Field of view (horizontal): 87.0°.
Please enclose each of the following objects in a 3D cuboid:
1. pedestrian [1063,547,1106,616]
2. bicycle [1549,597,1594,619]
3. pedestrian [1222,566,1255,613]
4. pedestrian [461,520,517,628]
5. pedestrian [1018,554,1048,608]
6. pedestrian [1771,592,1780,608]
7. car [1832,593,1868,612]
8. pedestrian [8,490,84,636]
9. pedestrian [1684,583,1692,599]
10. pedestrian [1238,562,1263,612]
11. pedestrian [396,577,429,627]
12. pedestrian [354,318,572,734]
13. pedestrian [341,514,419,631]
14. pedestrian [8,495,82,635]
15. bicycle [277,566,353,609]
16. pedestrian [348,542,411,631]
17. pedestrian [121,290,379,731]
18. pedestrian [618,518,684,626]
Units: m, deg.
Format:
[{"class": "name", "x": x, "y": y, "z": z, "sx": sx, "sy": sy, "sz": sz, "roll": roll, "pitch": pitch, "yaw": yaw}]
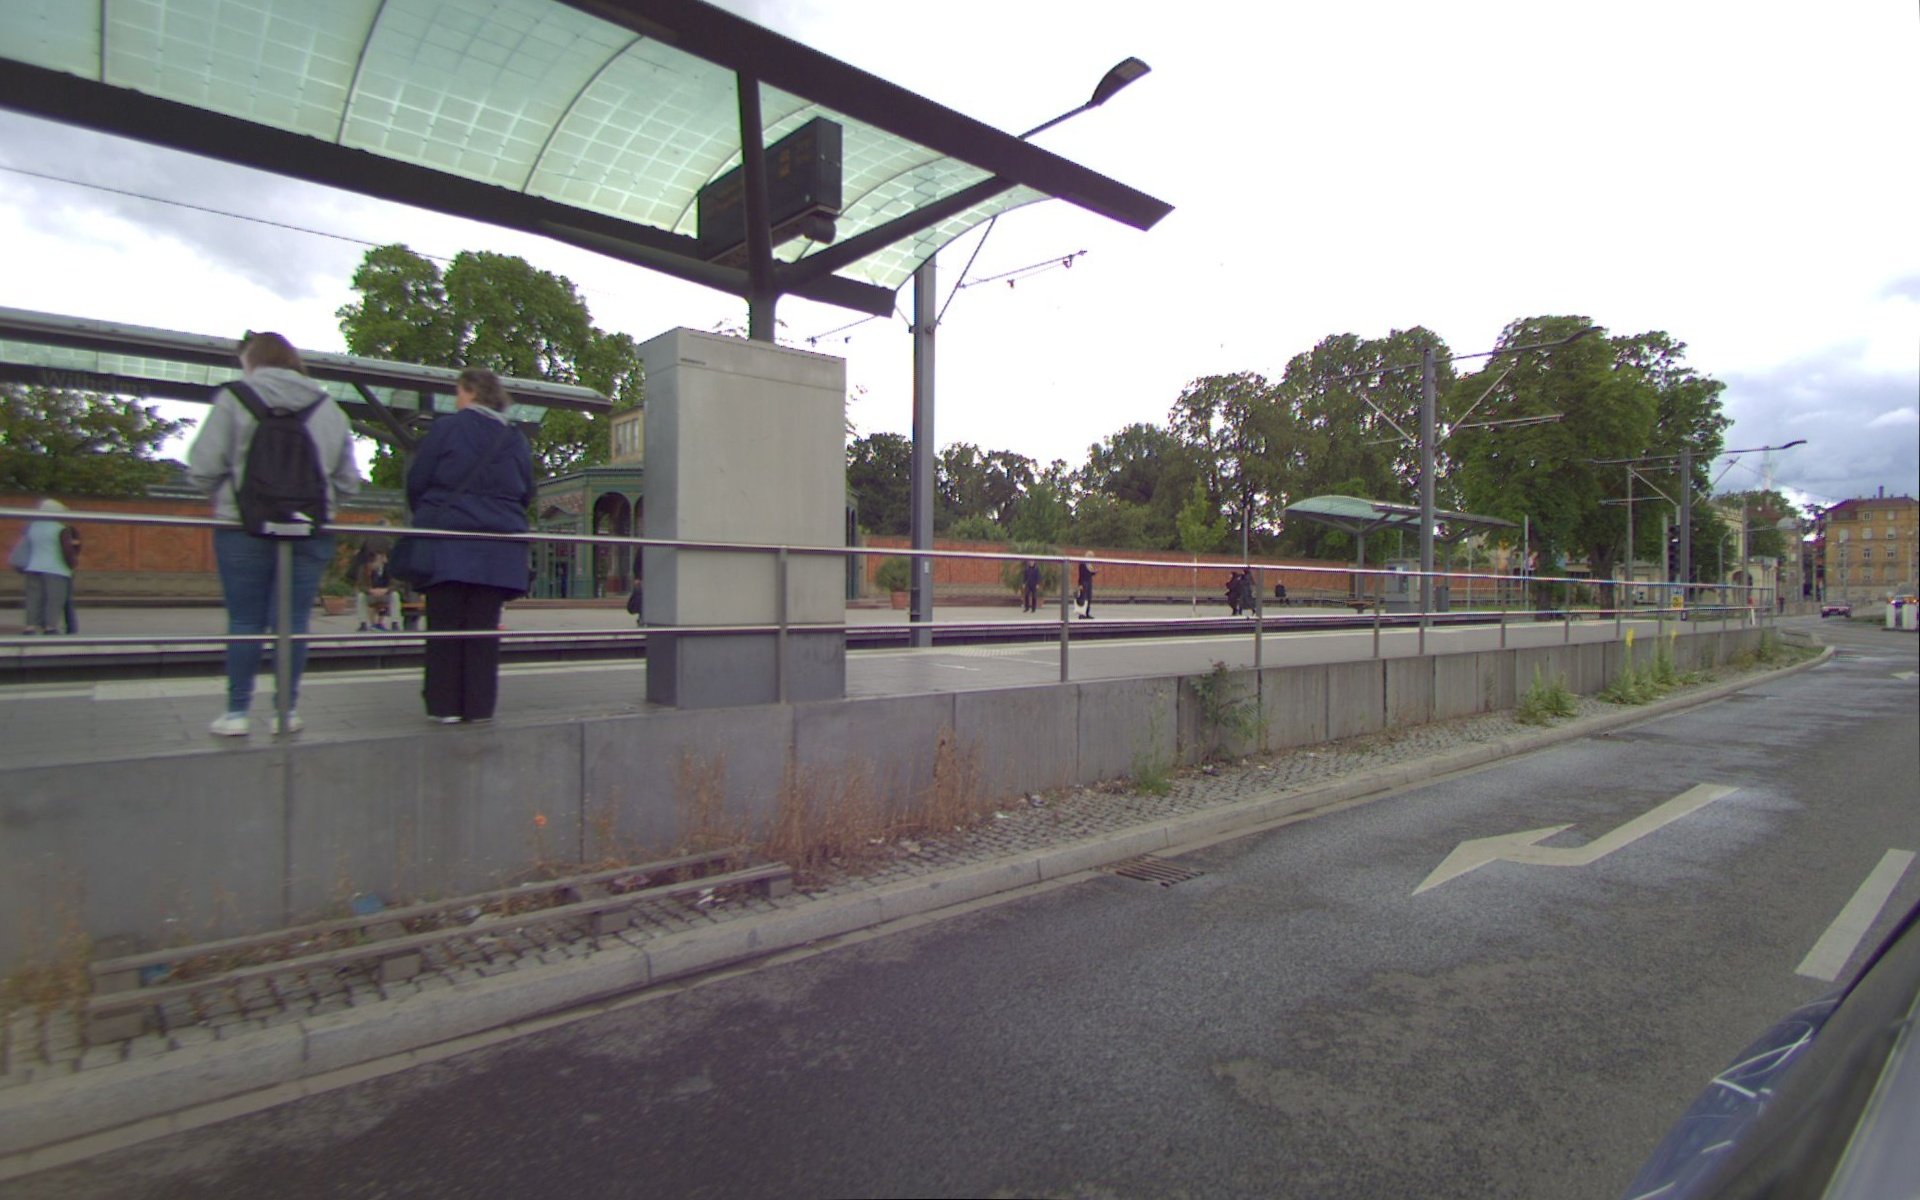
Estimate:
[{"class": "pedestrian", "x": 3.157, "y": -0.458, "z": 25.729, "sx": 0.851, "sy": 1.709, "sz": 0.633, "roll": 0, "pitch": -2, "yaw": -41}, {"class": "bicycle", "x": 33.422, "y": 0.434, "z": 55.300, "sx": 0.727, "sy": 1.172, "sz": 1.997, "roll": 0, "pitch": 0, "yaw": -36}, {"class": "pedestrian", "x": 9.705, "y": -0.368, "z": 35.286, "sx": 0.757, "sy": 1.621, "sz": 0.742, "roll": -1, "pitch": -2, "yaw": -32}, {"class": "pedestrian", "x": -7.381, "y": -0.401, "z": 15.853, "sx": 0.664, "sy": 1.641, "sz": 0.525, "roll": 0, "pitch": -2, "yaw": -40}, {"class": "pedestrian", "x": 2.538, "y": -0.649, "z": 35.343, "sx": 0.547, "sy": 1.861, "sz": 0.938, "roll": -3, "pitch": -2, "yaw": 42}, {"class": "pedestrian", "x": 89.110, "y": -0.016, "z": 110.583, "sx": 0.921, "sy": 1.790, "sz": 0.671, "roll": 0, "pitch": 0, "yaw": -42}, {"class": "car", "x": 72.085, "y": 0.161, "z": 81.957, "sx": 4.049, "sy": 1.461, "sz": 1.678, "roll": 0, "pitch": -2, "yaw": -43}, {"class": "pedestrian", "x": -10.999, "y": -0.426, "z": 12.178, "sx": 0.664, "sy": 1.699, "sz": 0.544, "roll": 0, "pitch": -2, "yaw": -44}, {"class": "pedestrian", "x": 85.554, "y": -1.064, "z": 118.916, "sx": 0.794, "sy": 1.815, "sz": 0.596, "roll": 0, "pitch": 0, "yaw": -42}, {"class": "pedestrian", "x": 9.892, "y": -0.450, "z": 34.445, "sx": 0.616, "sy": 1.682, "sz": 0.487, "roll": -1, "pitch": -2, "yaw": -33}, {"class": "pedestrian", "x": -8.449, "y": 0.040, "z": 15.613, "sx": 0.416, "sy": 0.750, "sz": 0.563, "roll": -1, "pitch": -1, "yaw": -32}, {"class": "pedestrian", "x": -2.307, "y": -0.292, "z": 4.695, "sx": 0.718, "sy": 1.722, "sz": 0.772, "roll": 2, "pitch": -3, "yaw": -40}, {"class": "pedestrian", "x": -8.788, "y": -0.393, "z": 15.333, "sx": 0.858, "sy": 1.699, "sz": 0.751, "roll": -3, "pitch": -2, "yaw": 39}, {"class": "pedestrian", "x": -11.484, "y": -0.418, "z": 12.696, "sx": 0.666, "sy": 1.699, "sz": 0.674, "roll": 0, "pitch": -2, "yaw": -44}, {"class": "bicycle", "x": -16.751, "y": -0.309, "z": 26.337, "sx": 0.556, "sy": 1.075, "sz": 1.705, "roll": -2, "pitch": -1, "yaw": 18}, {"class": "pedestrian", "x": -8.214, "y": -0.181, "z": 14.323, "sx": 0.664, "sy": 1.206, "sz": 0.658, "roll": 0, "pitch": -2, "yaw": -40}, {"class": "pedestrian", "x": -2.894, "y": -0.305, "z": 4.131, "sx": 0.761, "sy": 1.574, "sz": 0.751, "roll": 2, "pitch": -3, "yaw": -40}, {"class": "pedestrian", "x": -5.514, "y": -0.482, "z": 18.075, "sx": 0.933, "sy": 1.862, "sz": 0.634, "roll": 0, "pitch": -2, "yaw": -40}]
